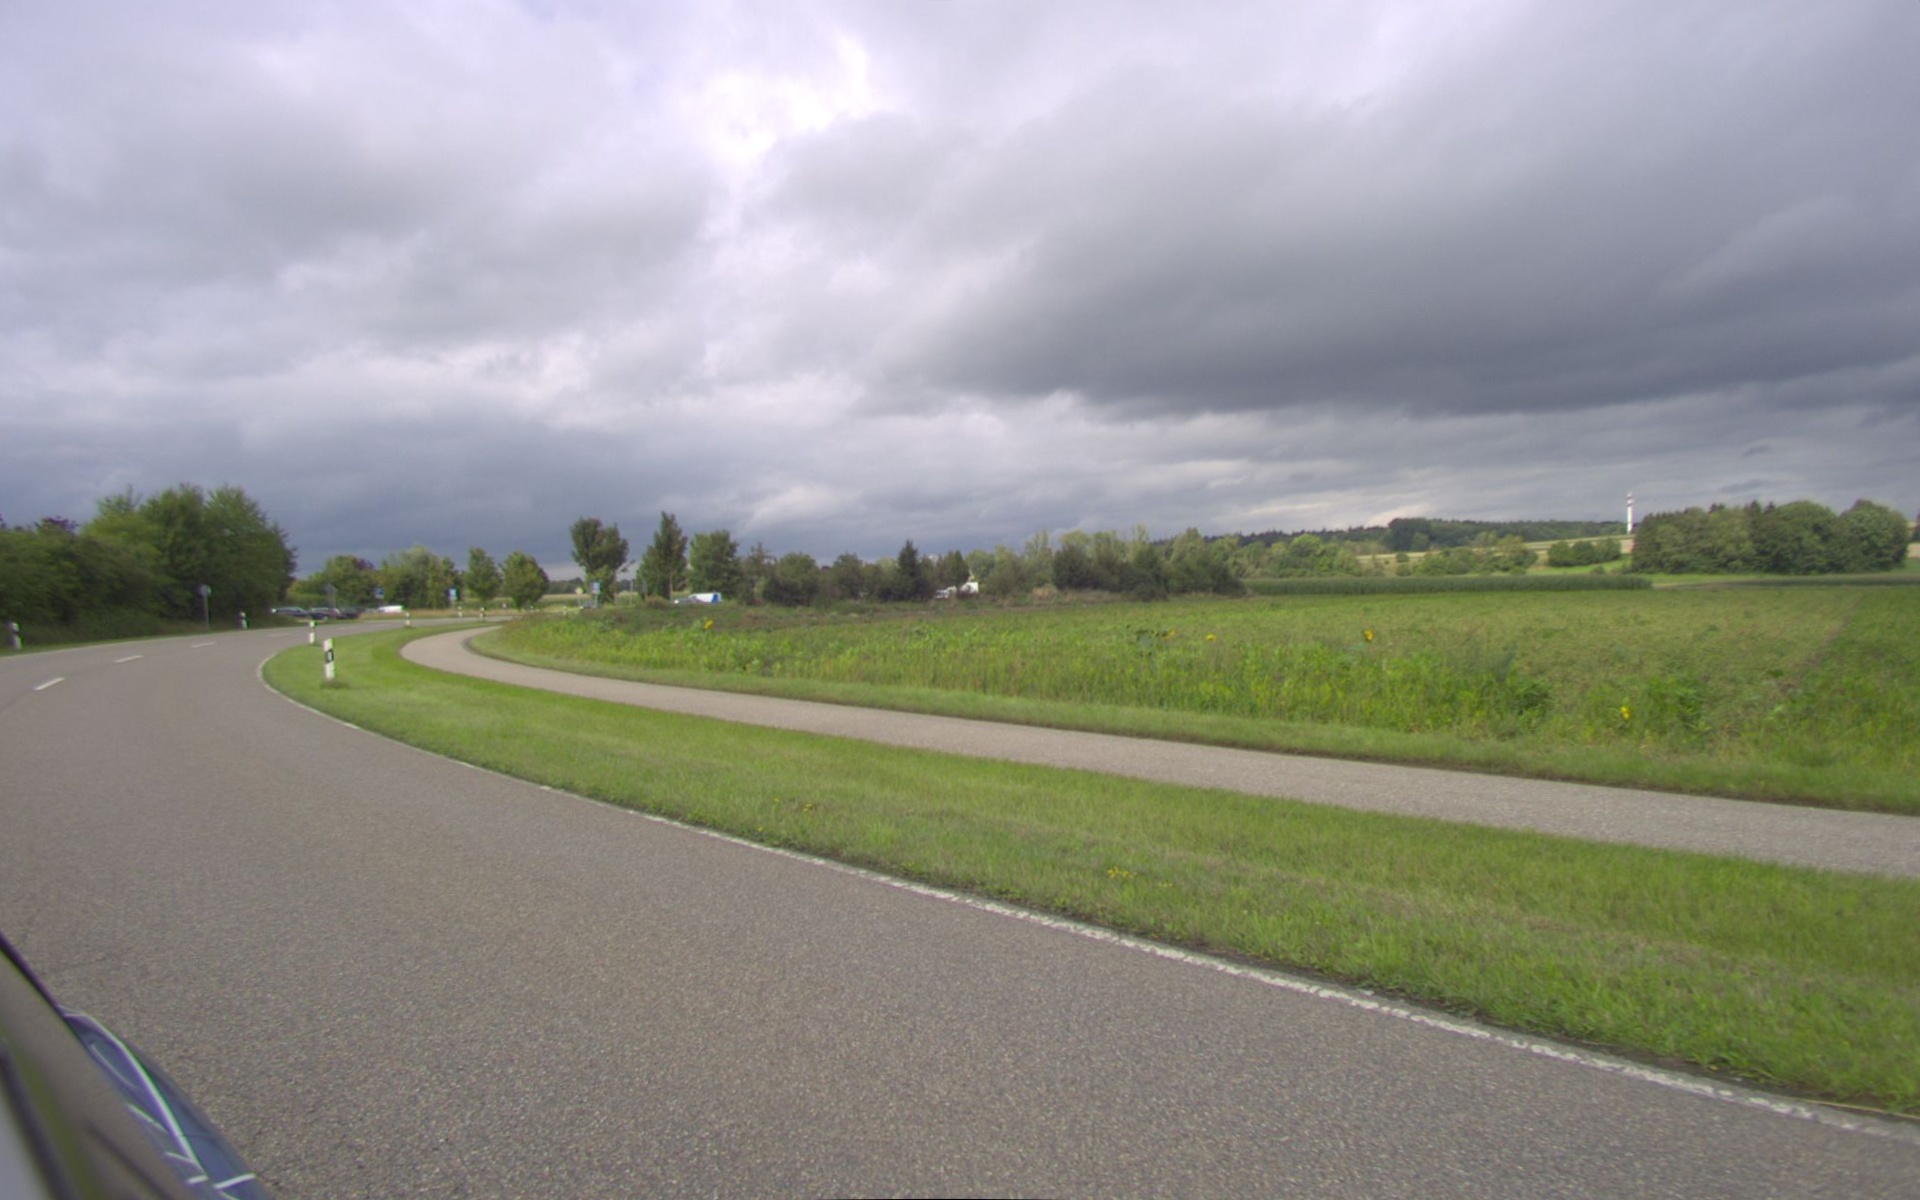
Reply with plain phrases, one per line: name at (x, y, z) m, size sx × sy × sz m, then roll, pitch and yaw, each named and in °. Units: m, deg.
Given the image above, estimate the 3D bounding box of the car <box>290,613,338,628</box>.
car at (-72.693, 2.300, 113.957) m, size 4.094 × 1.424 × 2.006 m, roll -2°, pitch 0°, yaw -18°

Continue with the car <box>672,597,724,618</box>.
car at (-27.453, 0.796, 106.123) m, size 4.838 × 2.029 × 2.057 m, roll -2°, pitch 0°, yaw -2°

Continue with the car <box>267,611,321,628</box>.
car at (-71.120, 2.078, 108.185) m, size 4.416 × 1.593 × 2.006 m, roll -2°, pitch 0°, yaw -18°

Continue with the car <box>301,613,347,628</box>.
car at (-73.716, 2.385, 117.338) m, size 3.944 × 1.516 × 2.056 m, roll -2°, pitch 0°, yaw -11°

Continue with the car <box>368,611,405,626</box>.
car at (-77.887, 2.556, 137.457) m, size 3.933 × 1.874 × 2.005 m, roll -2°, pitch 0°, yaw -14°
